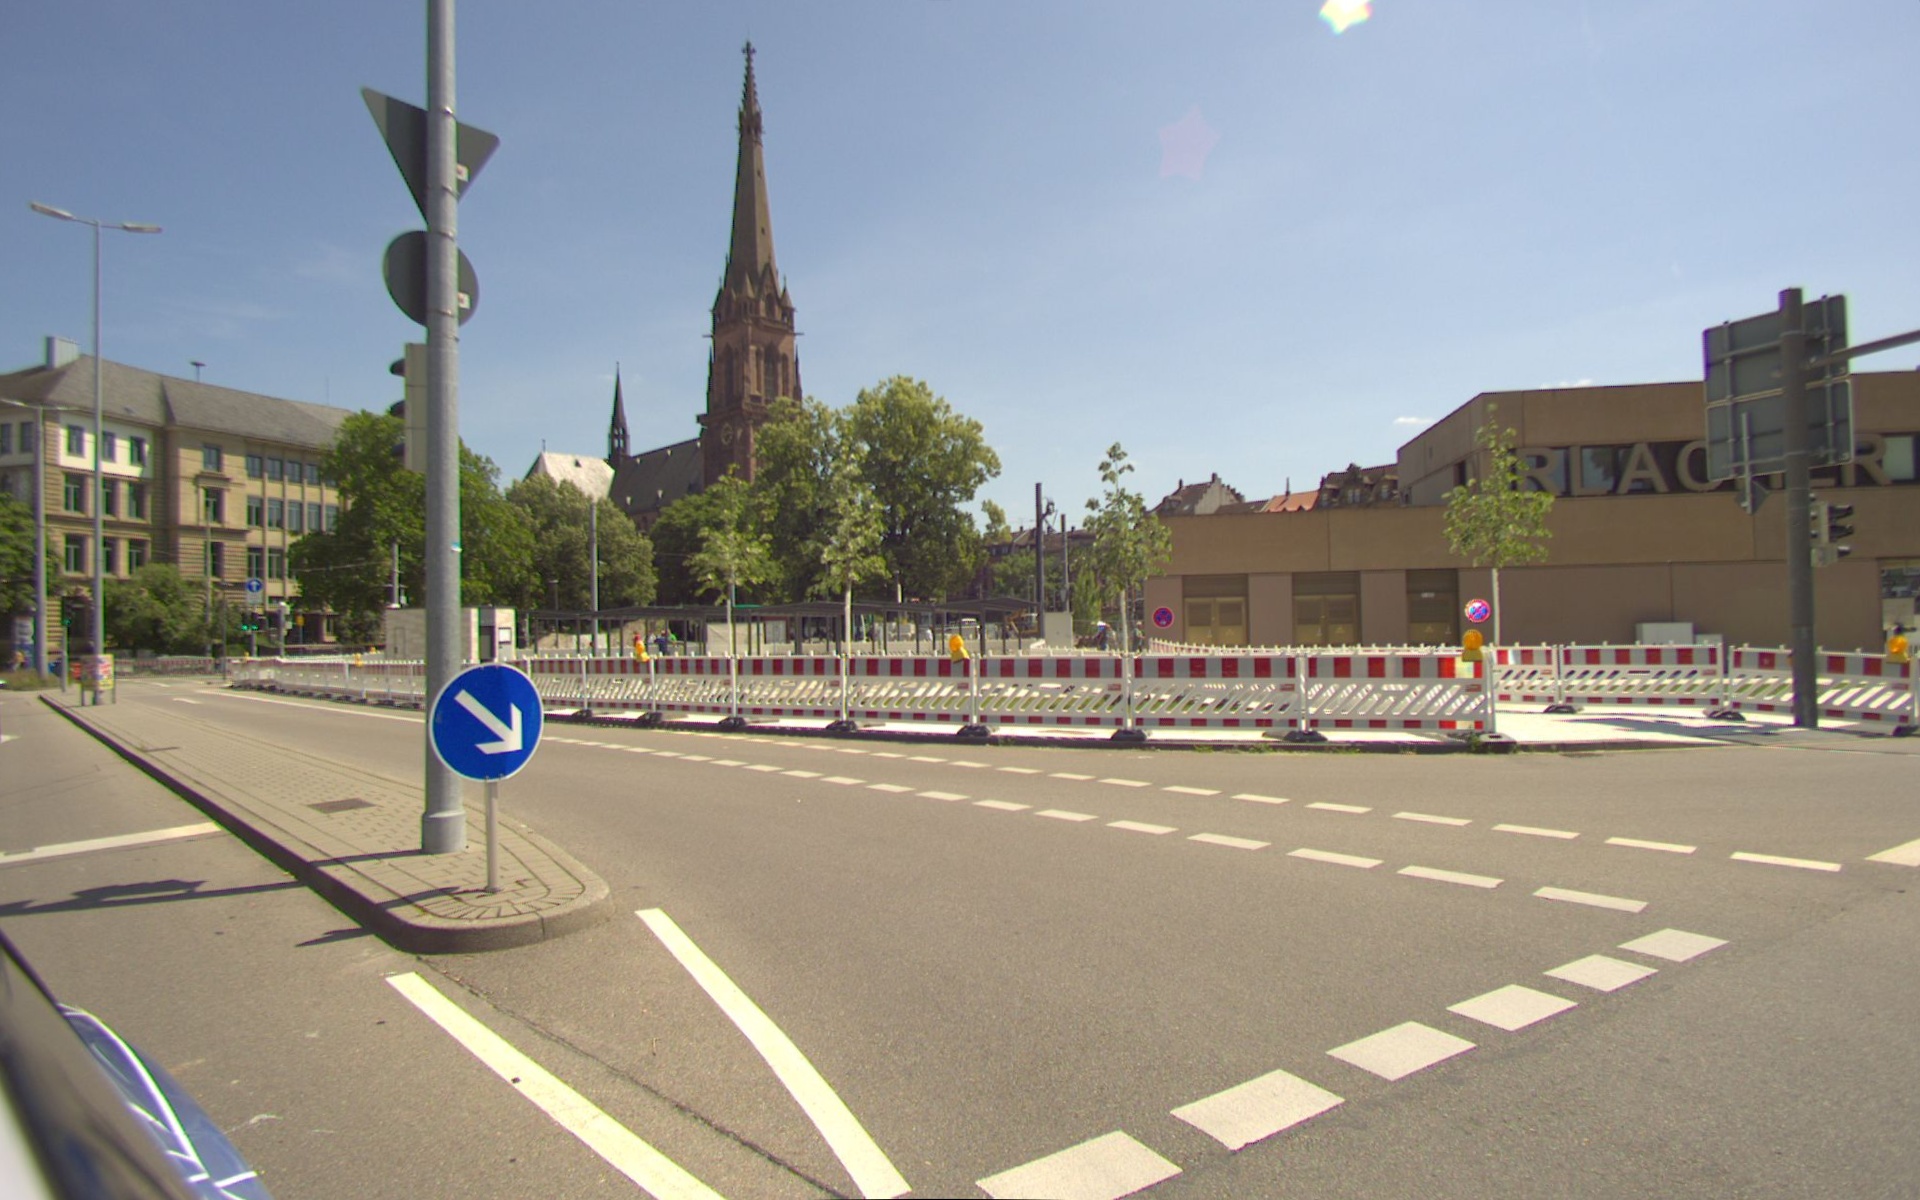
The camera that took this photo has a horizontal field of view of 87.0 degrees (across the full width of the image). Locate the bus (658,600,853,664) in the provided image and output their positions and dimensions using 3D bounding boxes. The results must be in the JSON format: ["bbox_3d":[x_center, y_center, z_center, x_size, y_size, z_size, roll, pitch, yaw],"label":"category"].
[{"bbox_3d":[-11.539,1.801,57.173,10.493,3.076,2.845,-3,0,12],"label":"bus"}]

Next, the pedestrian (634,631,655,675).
[{"bbox_3d":[-13.246,2.217,42.530,0.650,1.769,0.540,-3,-1,1],"label":"pedestrian"}]

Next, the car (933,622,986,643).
[{"bbox_3d":[-0.065,2.838,88.308,4.230,1.614,1.764,-3,0,31],"label":"car"}]

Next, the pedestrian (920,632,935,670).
[{"bbox_3d":[-1.670,2.585,51.749,0.599,1.871,0.698,-3,-1,6],"label":"pedestrian"}]

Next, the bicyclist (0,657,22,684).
[{"bbox_3d":[-59.682,4.419,63.626,0.787,1.678,0.587,0,-3,-1],"label":"bicyclist"}]

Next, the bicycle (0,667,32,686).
[{"bbox_3d":[-59.579,4.807,63.602,1.981,1.159,0.589,0,-3,0],"label":"bicycle"}]

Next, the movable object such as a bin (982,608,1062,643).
[{"bbox_3d":[6.562,2.756,107.995,7.943,3.414,2.880,-3,0,30],"label":"movable object such as a bin"}]

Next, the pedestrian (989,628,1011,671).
[{"bbox_3d":[1.967,2.436,49.932,0.870,2.029,0.693,-3,-1,15],"label":"pedestrian"}]

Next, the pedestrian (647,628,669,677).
[{"bbox_3d":[-12.320,2.136,41.280,0.570,1.920,0.691,-3,-1,9],"label":"pedestrian"}]

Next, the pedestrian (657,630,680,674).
[{"bbox_3d":[-12.252,2.167,42.500,0.631,1.802,0.643,-3,-1,10],"label":"pedestrian"}]

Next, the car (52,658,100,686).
[{"bbox_3d":[-47.343,3.837,54.166,1.668,1.388,4.016,3,-4,-44],"label":"car"}]

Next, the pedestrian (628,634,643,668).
[{"bbox_3d":[-16.860,2.639,52.561,0.556,1.714,0.582,-3,-1,-9],"label":"pedestrian"}]
